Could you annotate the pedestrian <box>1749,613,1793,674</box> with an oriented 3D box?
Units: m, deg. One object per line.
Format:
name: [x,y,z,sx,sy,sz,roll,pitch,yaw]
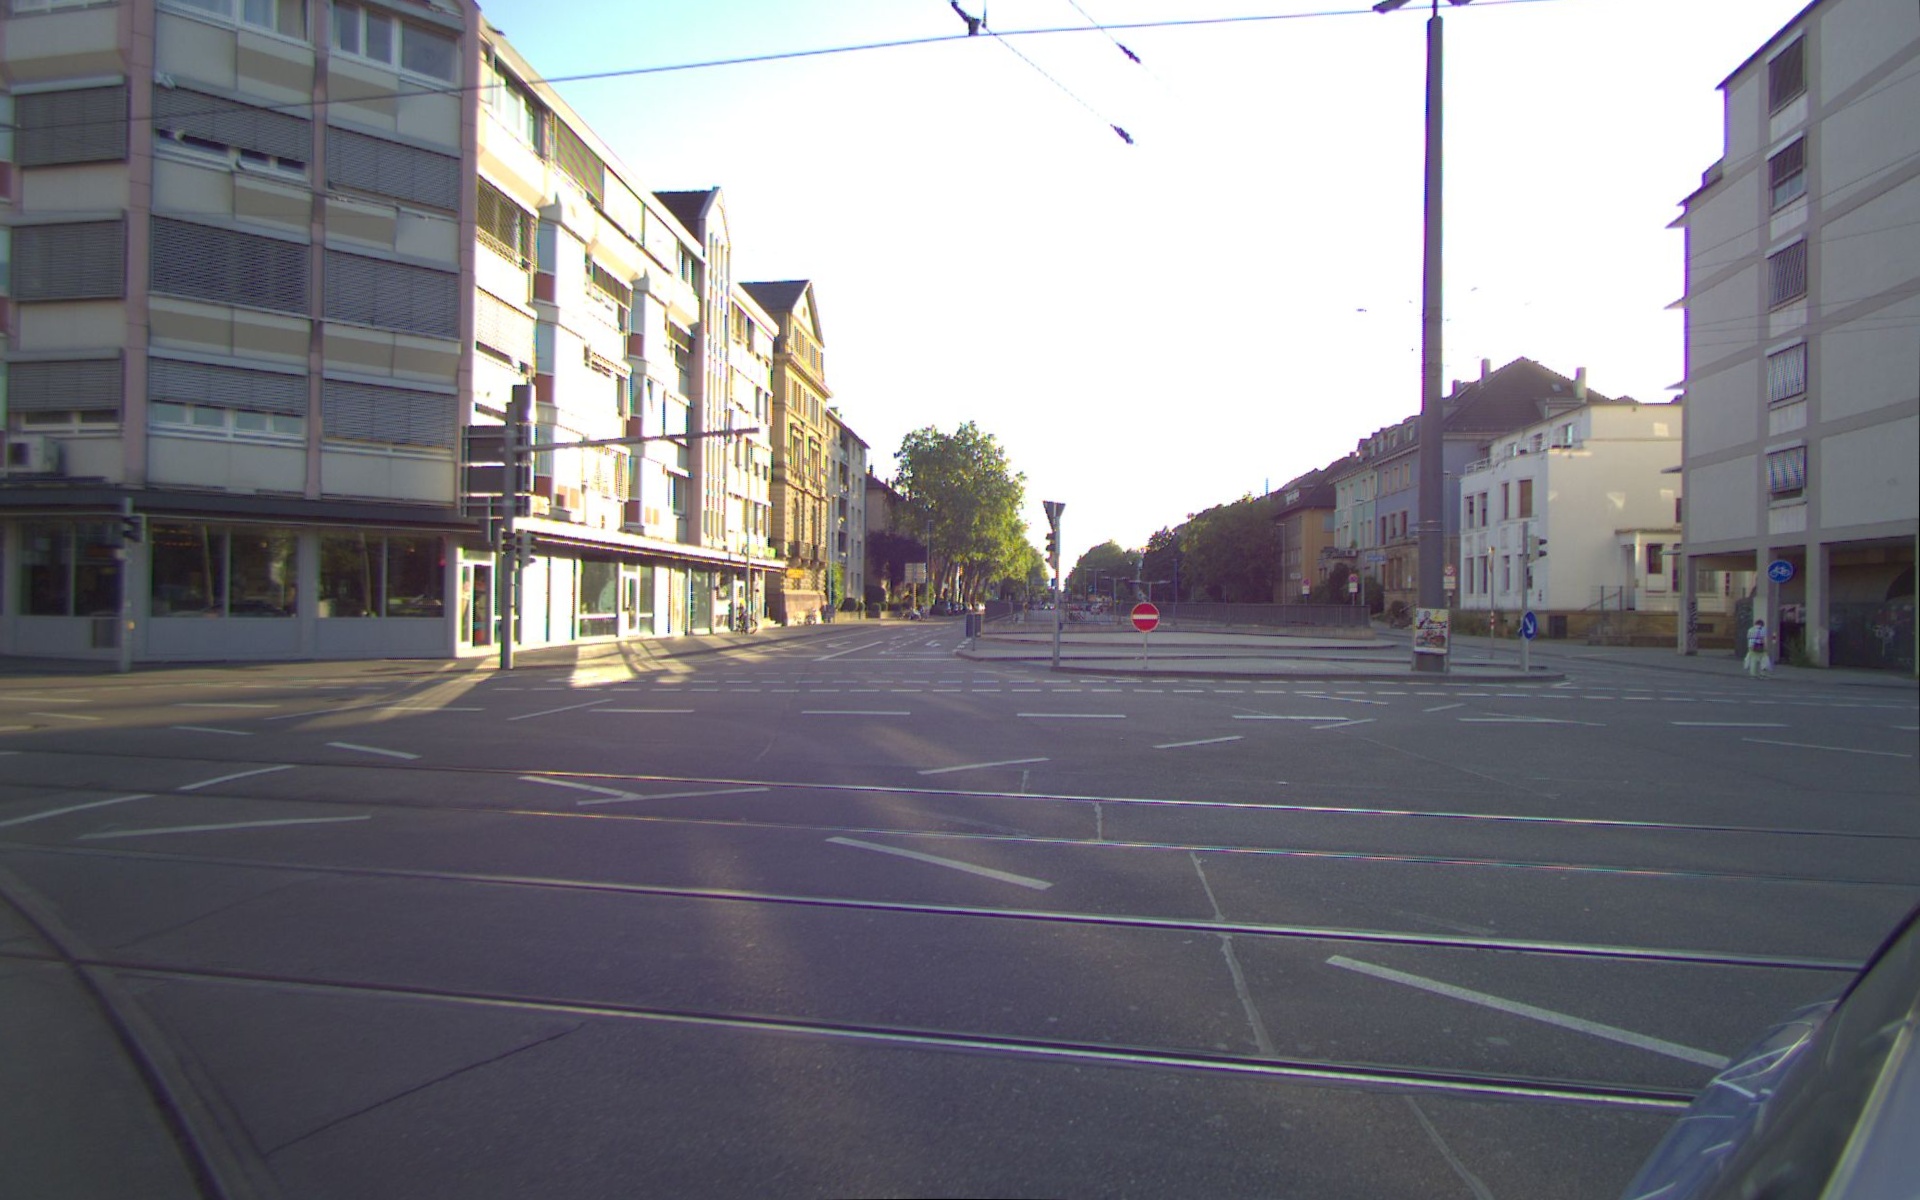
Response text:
pedestrian: [21.050,1.120,26.257,0.697,1.554,0.653,1,-1,-25]
